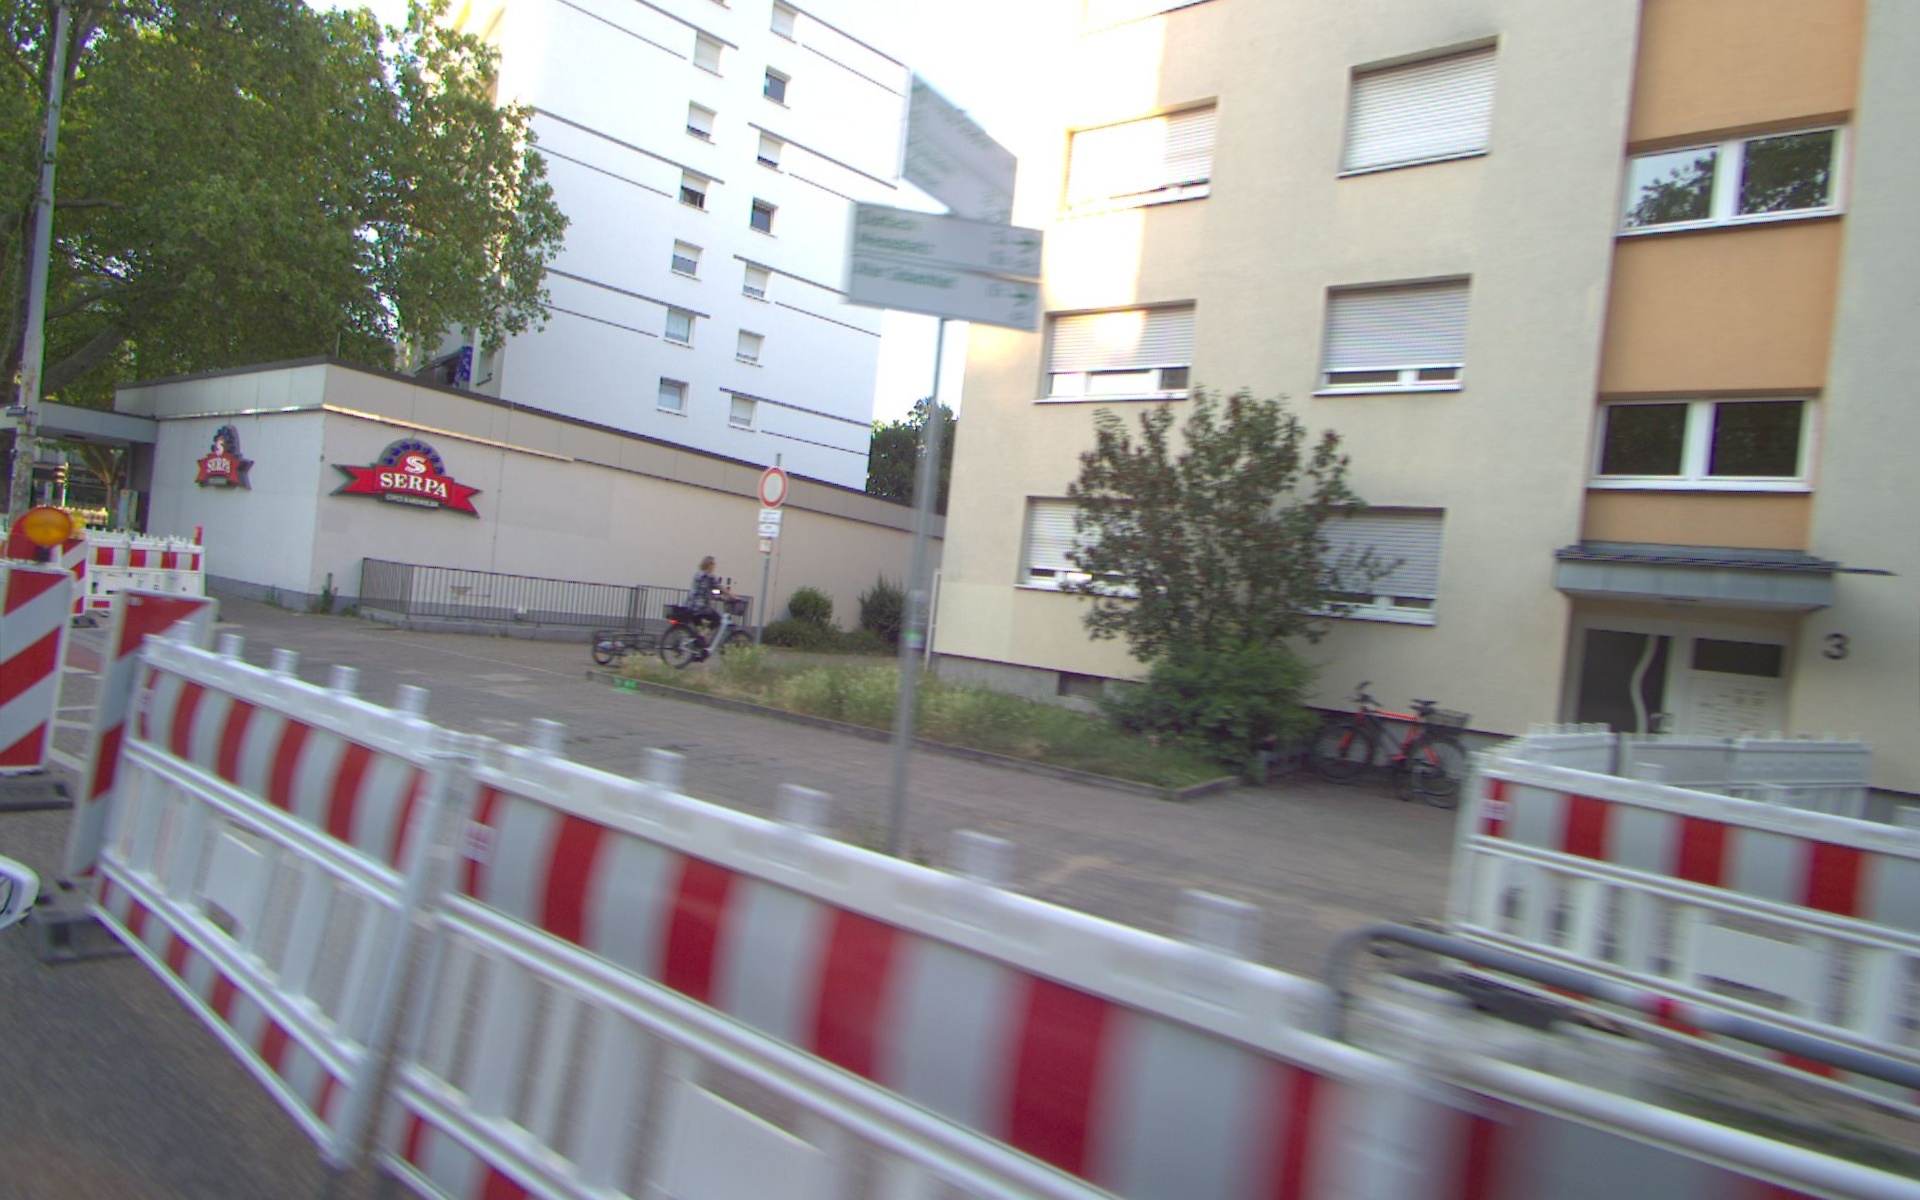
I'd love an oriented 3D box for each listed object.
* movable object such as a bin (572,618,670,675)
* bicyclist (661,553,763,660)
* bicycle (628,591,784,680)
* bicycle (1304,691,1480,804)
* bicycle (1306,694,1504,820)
[{"bbox_3d":[-5.144,0.706,15.281,0.928,0.697,0.991,6,-2,36],"label":"movable object such as a bin"},{"bbox_3d":[-4.097,0.118,16.642,0.928,1.600,1.143,6,-2,36],"label":"bicyclist"},{"bbox_3d":[-4.154,0.616,16.636,0.928,1.185,2.353,6,-2,36],"label":"bicycle"},{"bbox_3d":[4.878,1.636,11.410,1.671,0.980,0.544,6,0,36],"label":"bicycle"},{"bbox_3d":[4.619,1.609,10.561,0.540,0.980,1.797,6,0,-35],"label":"bicycle"}]
